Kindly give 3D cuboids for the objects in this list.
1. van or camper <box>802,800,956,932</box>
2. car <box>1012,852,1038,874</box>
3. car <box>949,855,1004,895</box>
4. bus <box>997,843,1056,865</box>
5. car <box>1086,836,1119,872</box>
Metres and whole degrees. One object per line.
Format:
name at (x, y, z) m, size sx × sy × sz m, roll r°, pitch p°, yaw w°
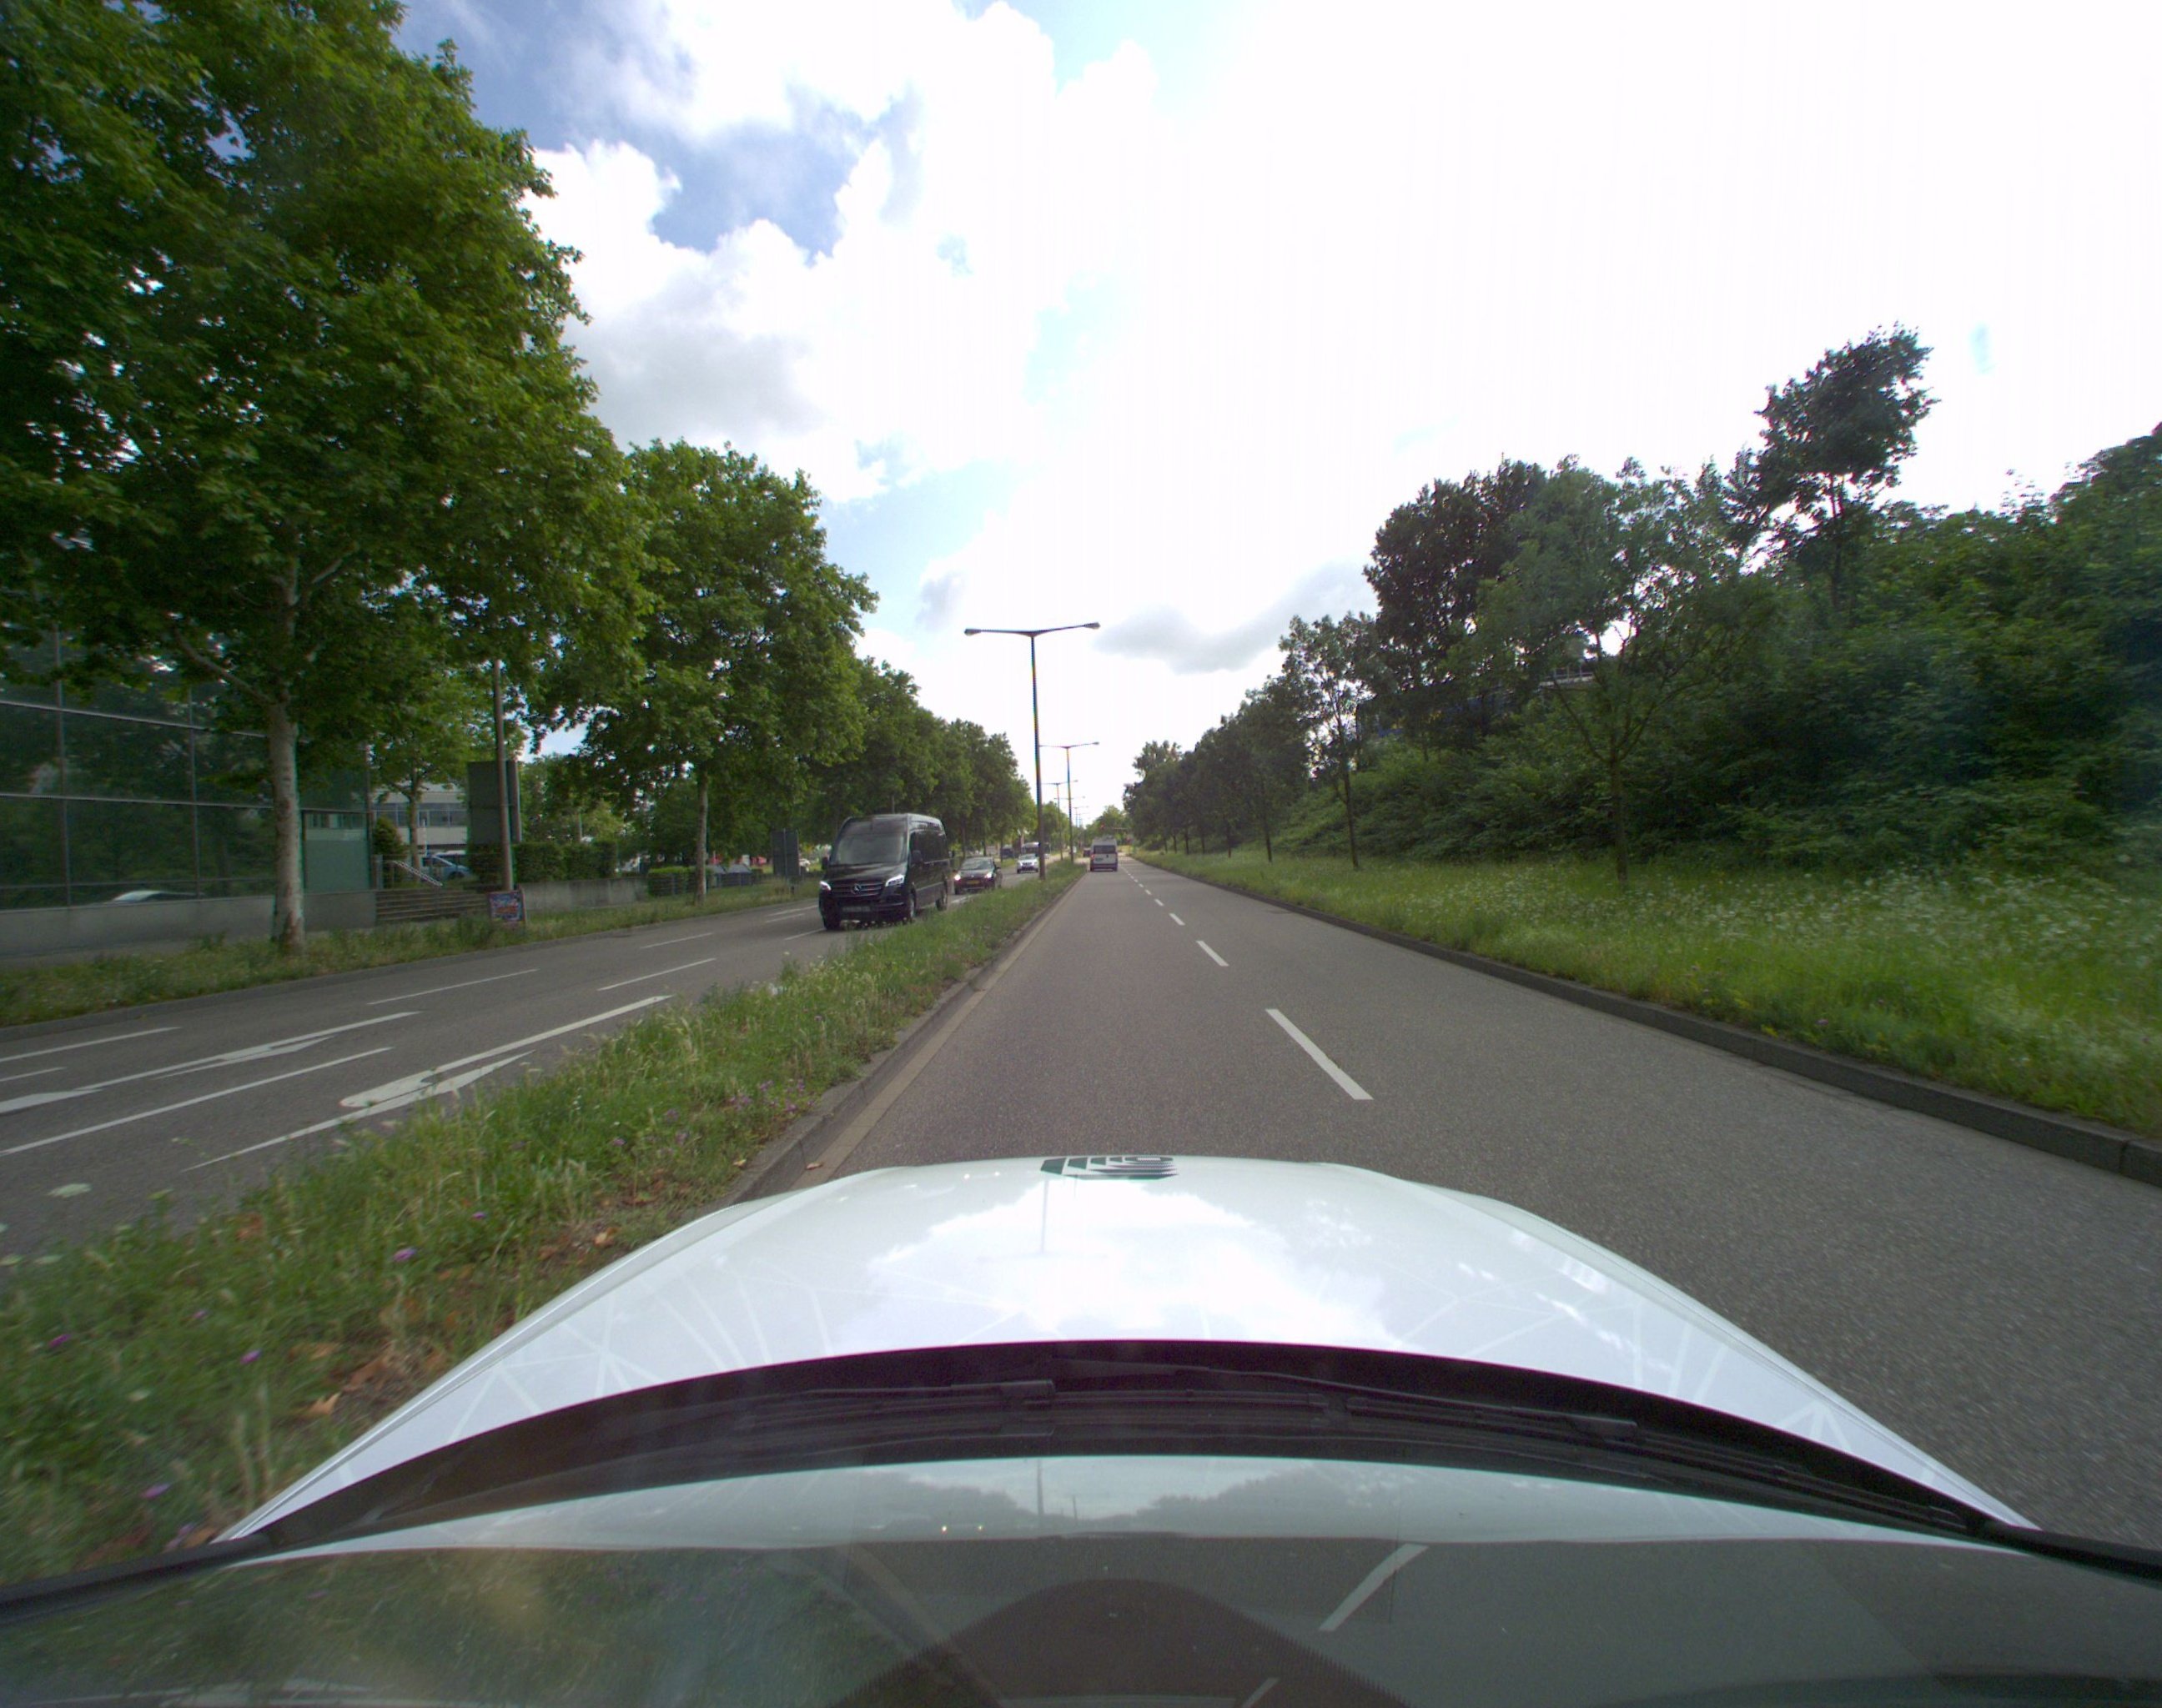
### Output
van or camper at (-4.750, 0.263, 20.460) m, size 2.098 × 2.660 × 6.715 m, roll -3°, pitch 0°, yaw 0°
car at (-4.699, 0.756, 68.987) m, size 1.808 × 1.640 × 4.350 m, roll -4°, pitch 0°, yaw 0°
car at (-4.280, 0.861, 33.953) m, size 1.689 × 1.464 × 3.940 m, roll -3°, pitch -1°, yaw 0°
bus at (-9.972, 0.052, 147.076) m, size 3.138 × 3.274 × 12.183 m, roll -3°, pitch -1°, yaw -45°
car at (1.652, 0.007, 63.616) m, size 2.192 × 2.726 × 4.926 m, roll -1°, pitch 0°, yaw -3°
